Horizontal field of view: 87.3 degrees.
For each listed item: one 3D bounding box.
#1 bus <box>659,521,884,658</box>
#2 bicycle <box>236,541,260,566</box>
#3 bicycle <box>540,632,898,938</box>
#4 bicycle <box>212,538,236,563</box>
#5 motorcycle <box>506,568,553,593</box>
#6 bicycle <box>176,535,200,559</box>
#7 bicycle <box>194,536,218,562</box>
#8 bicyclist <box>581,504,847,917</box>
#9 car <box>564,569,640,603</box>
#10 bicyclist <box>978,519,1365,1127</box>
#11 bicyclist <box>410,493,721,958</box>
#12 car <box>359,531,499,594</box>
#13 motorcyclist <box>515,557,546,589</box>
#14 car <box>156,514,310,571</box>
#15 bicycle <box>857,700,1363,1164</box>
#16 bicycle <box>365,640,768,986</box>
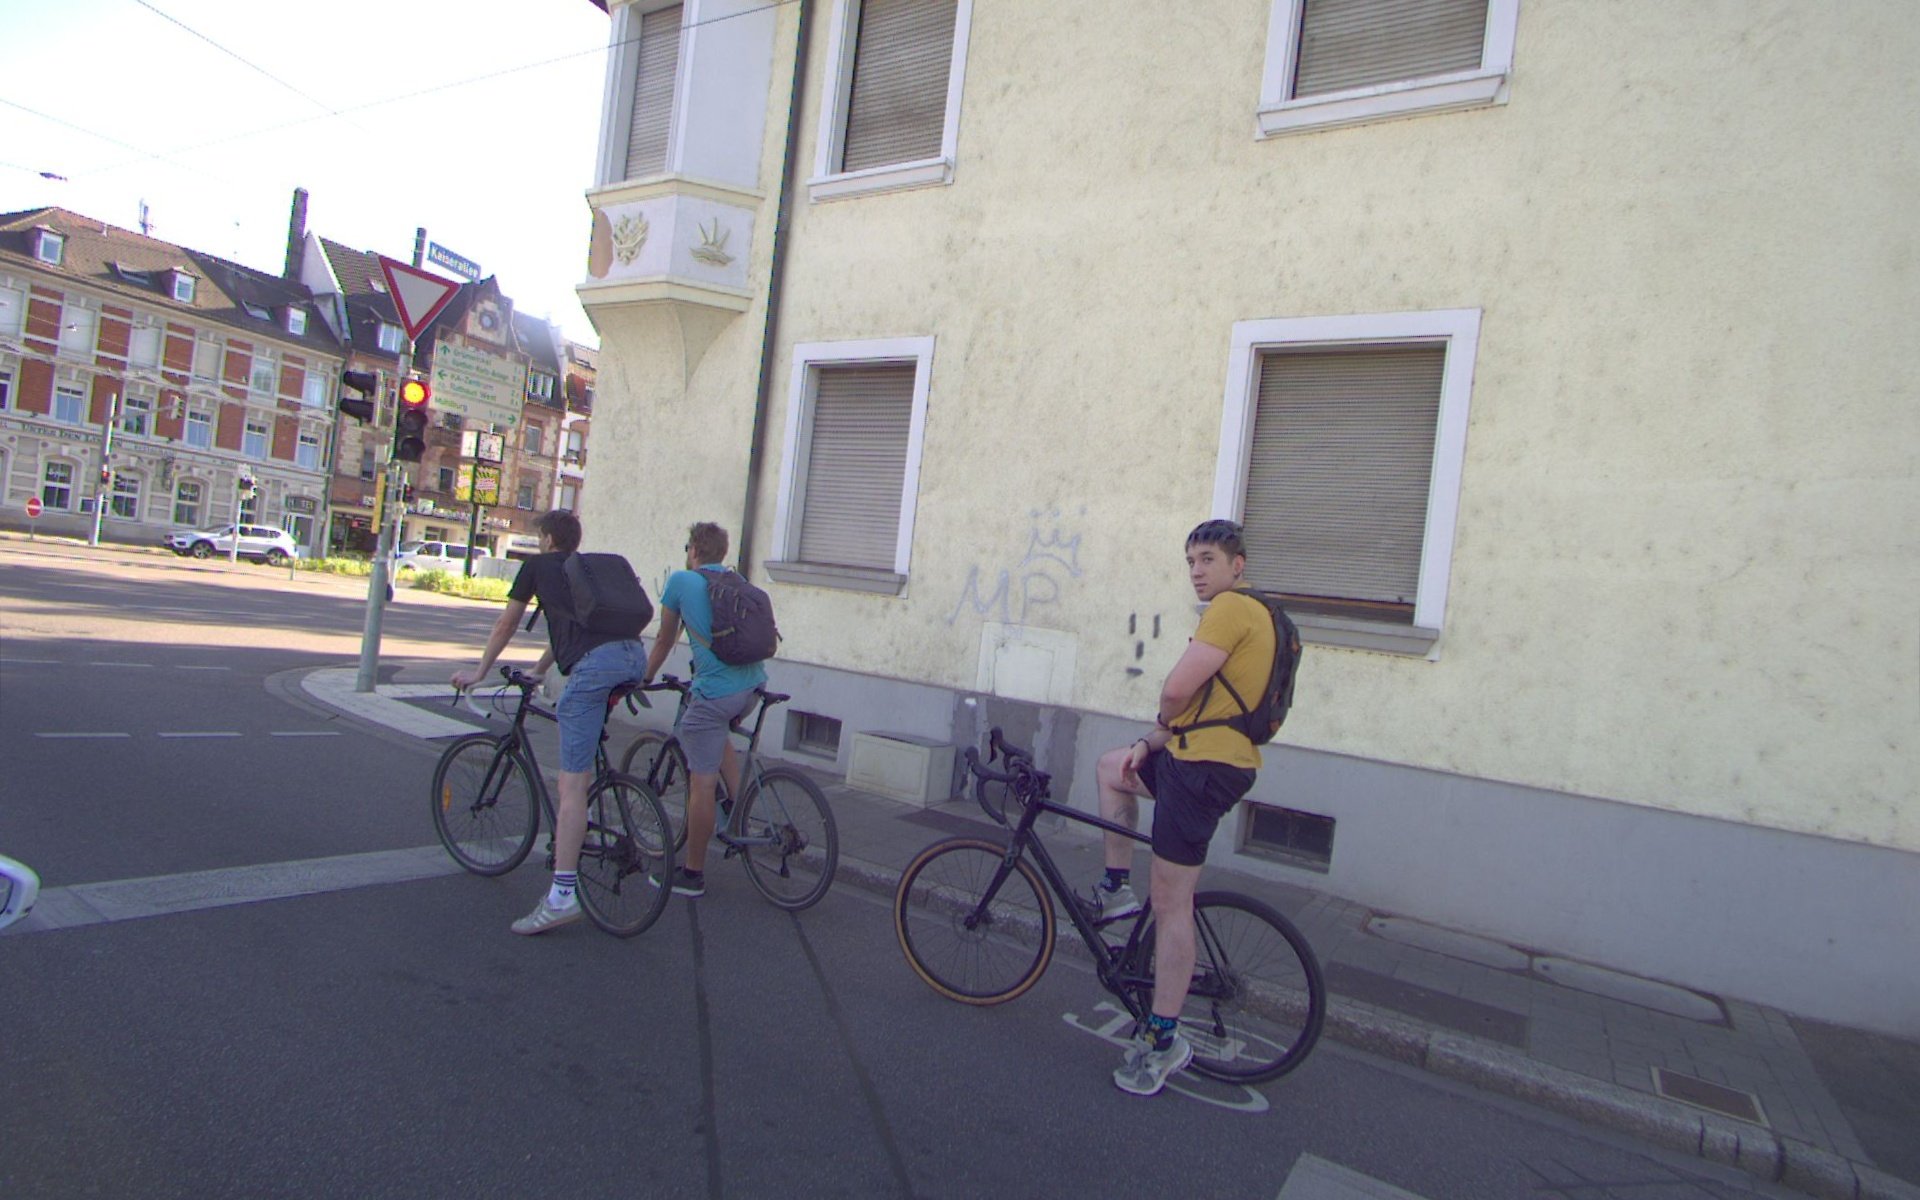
[{"bbox_3d":[-6.046,-0.128,34.267,2.737,3.497,8.645,8,-2,24],"label":"bus"},{"bbox_3d":[-33.677,-2.194,47.565,1.759,1.033,0.485,7,0,42],"label":"bicycle"},{"bbox_3d":[-1.310,0.877,5.285,1.858,1.180,0.571,7,0,32],"label":"bicycle"},{"bbox_3d":[-34.191,-2.294,46.750,1.759,1.033,0.485,7,0,42],"label":"bicycle"},{"bbox_3d":[-20.576,-0.926,48.163,0.552,0.908,2.043,7,-1,31],"label":"motorcycle"},{"bbox_3d":[-35.068,-2.416,45.668,1.759,0.925,0.485,7,0,42],"label":"bicycle"},{"bbox_3d":[-34.643,-2.343,46.204,1.759,1.033,0.485,7,0,42],"label":"bicycle"},{"bbox_3d":[-1.287,0.524,5.275,0.978,1.910,0.652,7,0,32],"label":"bicyclist"},{"bbox_3d":[-23.177,-0.888,65.233,1.966,1.641,4.261,7,-1,29],"label":"car"},{"bbox_3d":[0.772,0.696,3.661,1.019,1.839,0.652,7,0,32],"label":"bicyclist"},{"bbox_3d":[-1.751,0.492,4.475,0.978,1.788,0.652,7,0,32],"label":"bicyclist"},{"bbox_3d":[-23.271,-1.614,44.266,1.967,2.037,4.988,7,-1,31],"label":"car"},{"bbox_3d":[-20.538,-1.292,48.145,0.732,1.371,1.004,7,0,32],"label":"motorcyclist"},{"bbox_3d":[-30.957,-2.416,43.012,1.966,1.673,4.864,7,-1,30],"label":"car"},{"bbox_3d":[0.512,1.090,3.778,1.670,1.180,0.571,7,0,32],"label":"bicycle"},{"bbox_3d":[-1.799,0.835,4.473,1.858,1.071,0.571,7,0,32],"label":"bicycle"}]
